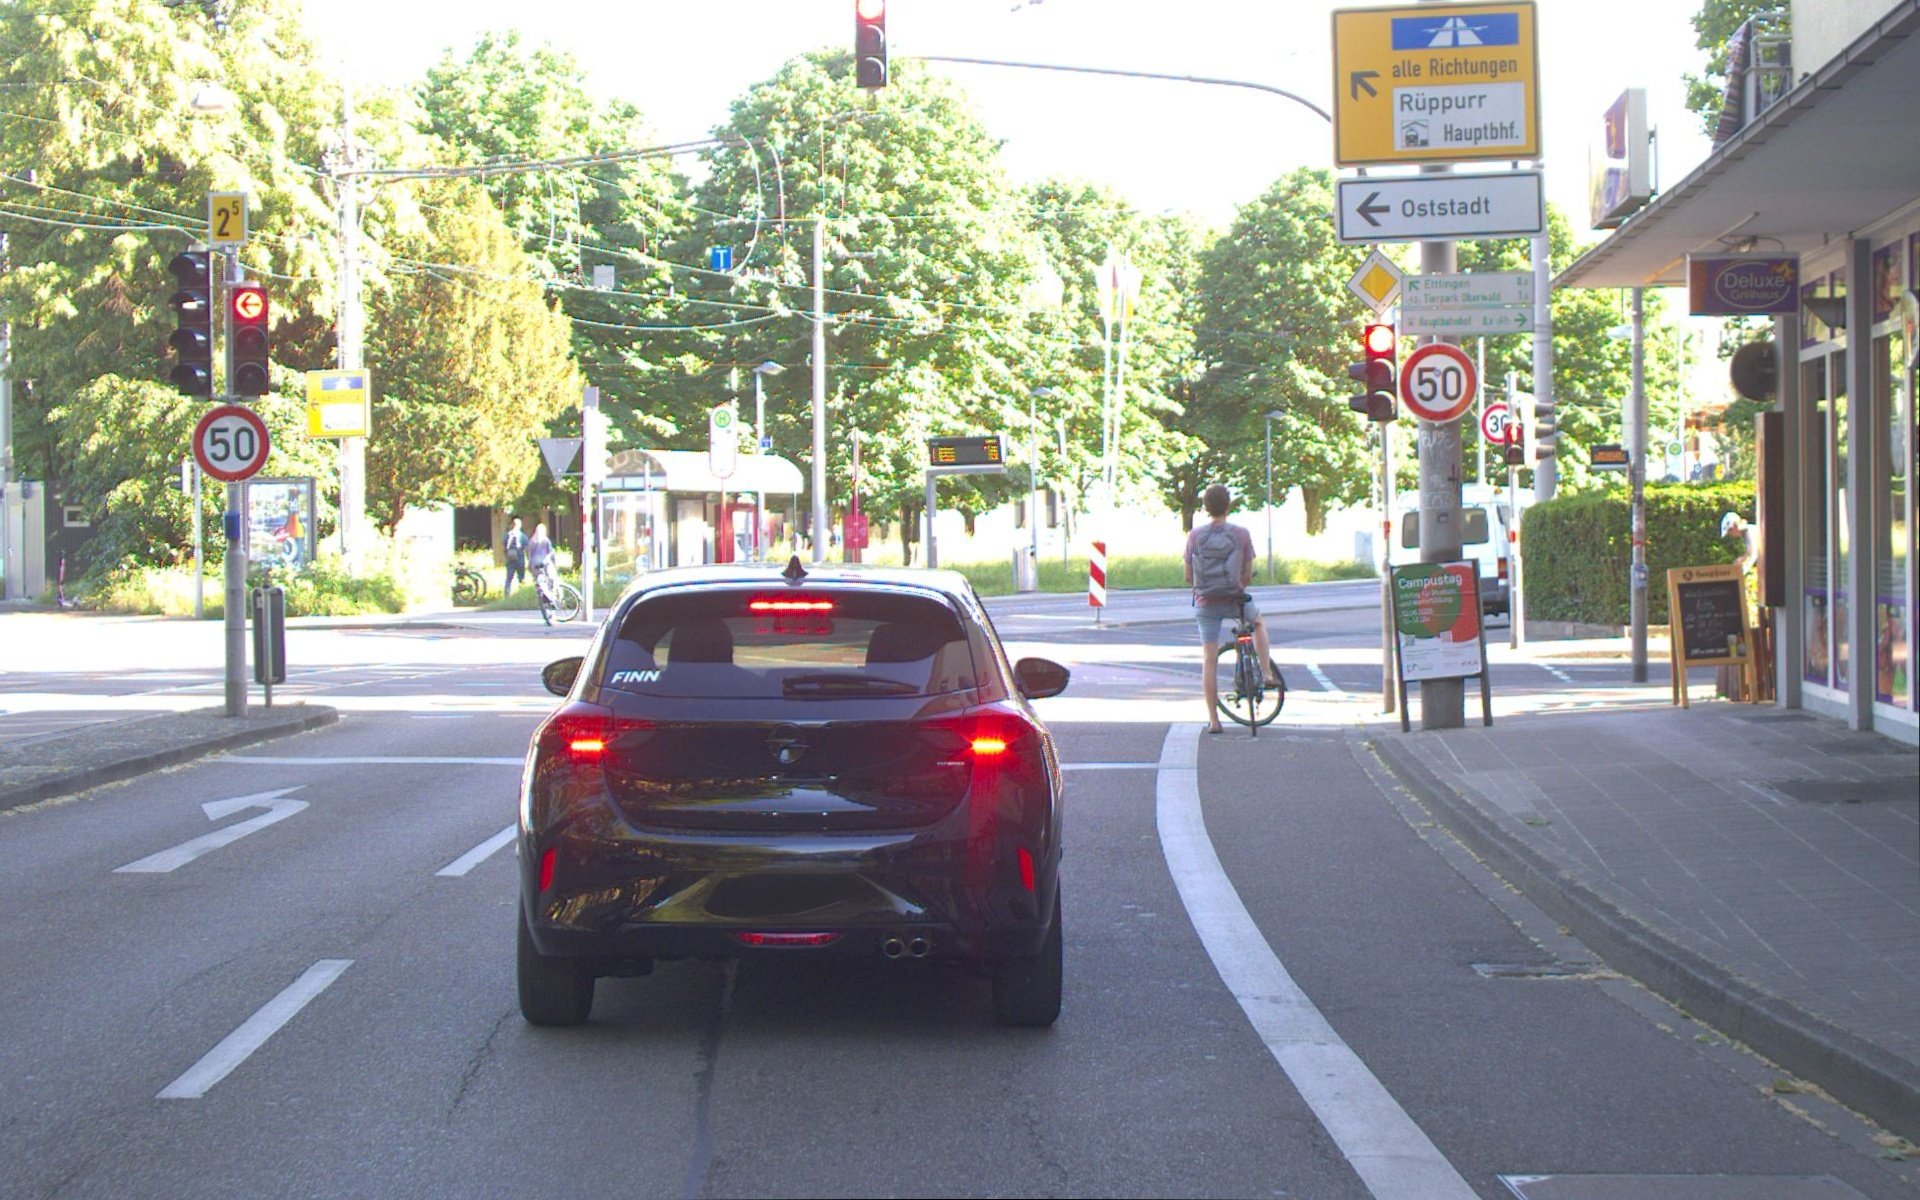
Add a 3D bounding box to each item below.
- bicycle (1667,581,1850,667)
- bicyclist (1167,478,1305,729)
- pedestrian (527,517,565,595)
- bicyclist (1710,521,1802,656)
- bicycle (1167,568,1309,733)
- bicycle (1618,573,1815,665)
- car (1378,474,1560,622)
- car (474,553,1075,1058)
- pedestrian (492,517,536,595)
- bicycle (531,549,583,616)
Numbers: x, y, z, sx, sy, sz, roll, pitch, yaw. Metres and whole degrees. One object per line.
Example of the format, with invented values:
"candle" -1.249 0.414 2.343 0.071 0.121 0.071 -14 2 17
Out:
"bicycle" 9.331 0.277 40.218 2.059 0.980 0.672 0 1 11
"bicyclist" 2.071 0.020 25.890 0.941 1.845 0.864 -1 1 -1
"pedestrian" -8.746 -0.930 72.571 0.636 1.624 0.572 2 0 7
"bicyclist" 9.311 -0.140 40.226 1.010 1.565 0.799 0 1 11
"bicycle" 2.076 0.357 25.932 0.860 1.149 2.172 -1 1 -1
"bicycle" 9.148 0.228 41.594 2.294 1.080 0.800 0 1 13
"car" 8.129 -0.842 54.543 2.065 2.241 4.883 0 1 18
"car" -0.541 0.567 12.040 1.727 1.424 4.187 0 1 0
"pedestrian" -9.423 -0.932 72.683 0.751 1.624 0.597 2 0 7
"bicycle" -6.397 -0.288 54.638 0.605 1.028 1.982 0 1 0
